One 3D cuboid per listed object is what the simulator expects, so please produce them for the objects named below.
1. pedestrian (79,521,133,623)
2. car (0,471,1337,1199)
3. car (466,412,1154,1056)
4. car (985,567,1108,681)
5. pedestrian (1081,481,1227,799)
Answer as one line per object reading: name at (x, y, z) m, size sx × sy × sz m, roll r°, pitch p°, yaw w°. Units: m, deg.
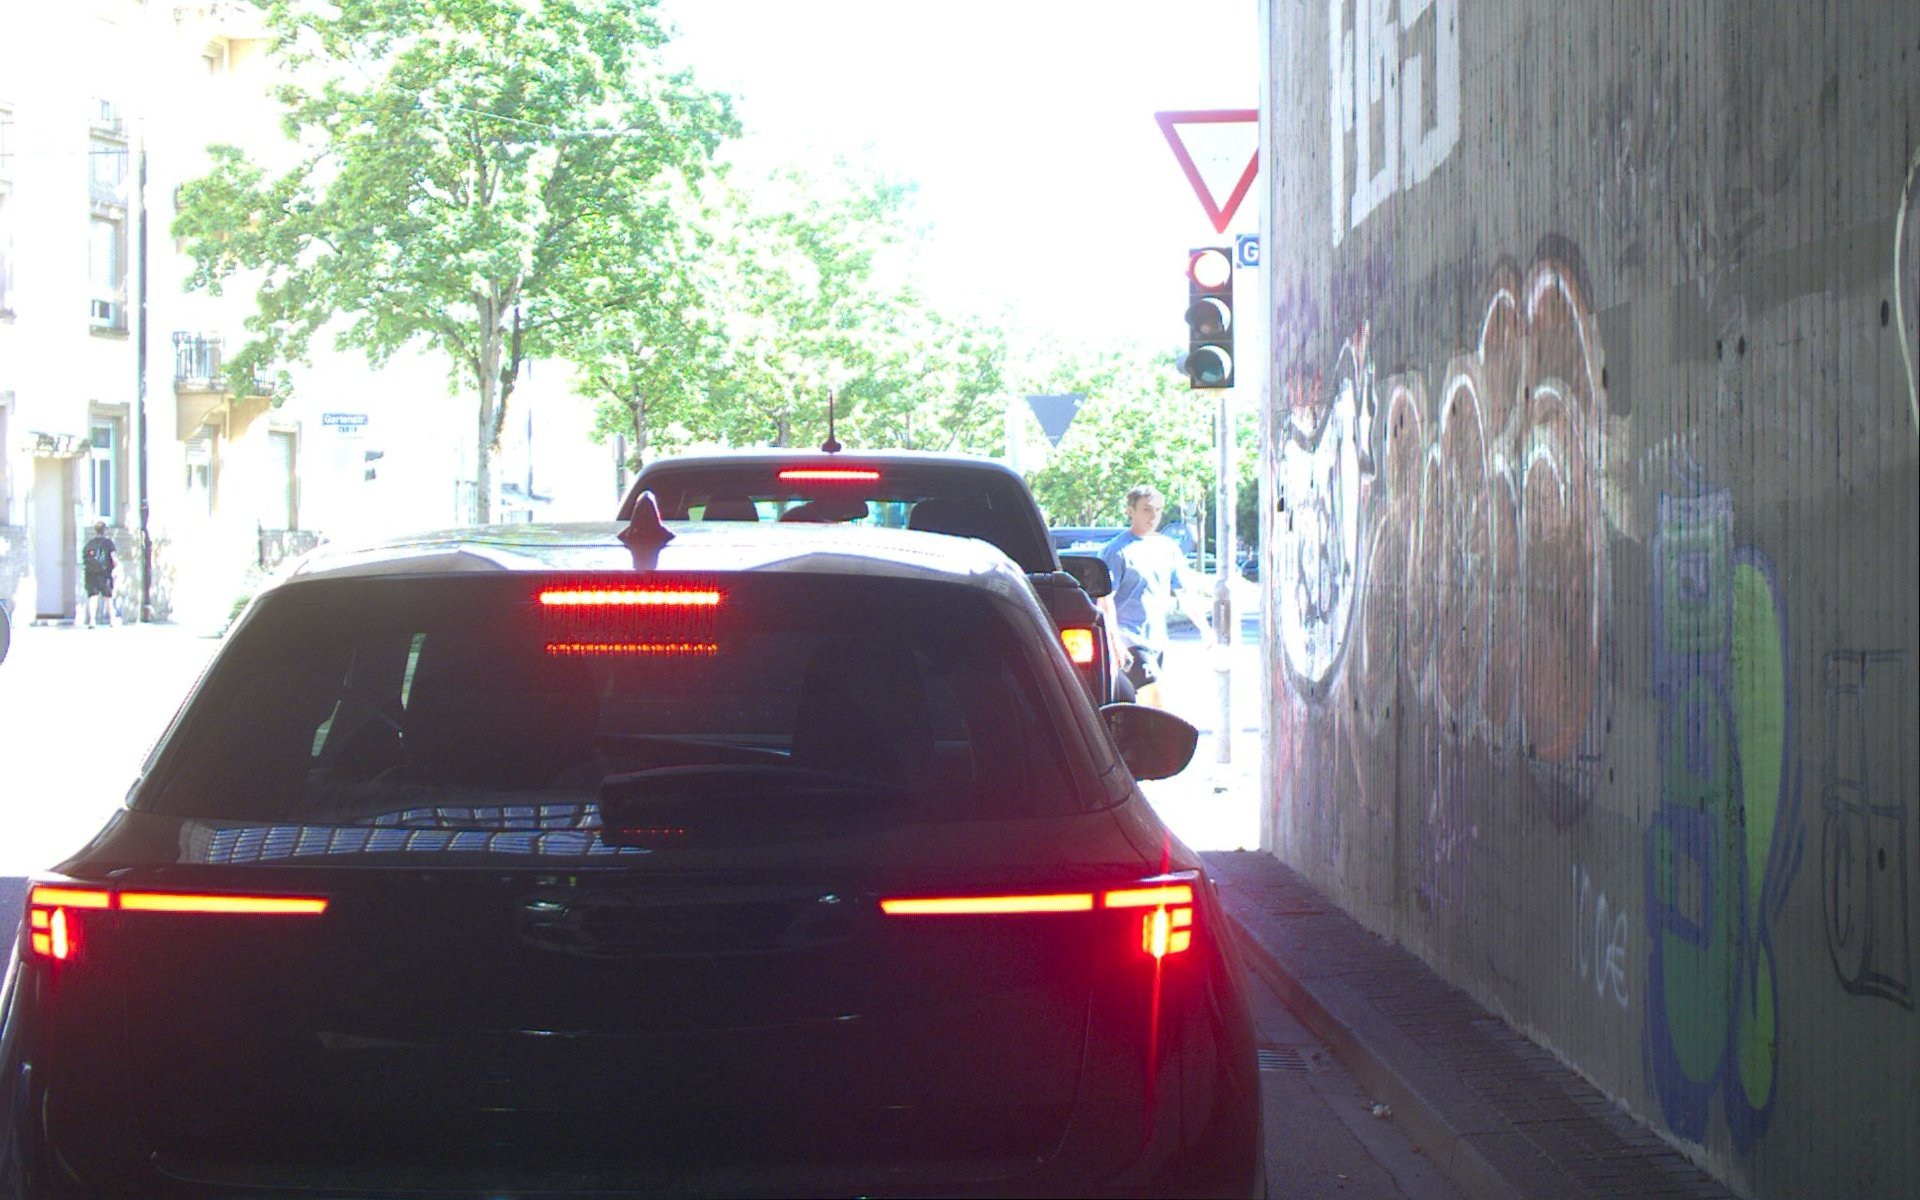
pedestrian at (-13.806, -0.457, 55.568) m, size 0.672 × 1.632 × 0.740 m, roll 1°, pitch 0°, yaw -1°
car at (-0.472, 0.568, 6.066) m, size 1.764 × 1.566 × 4.001 m, roll 1°, pitch 2°, yaw -1°
car at (-0.457, 0.352, 12.025) m, size 1.993 × 1.865 × 4.000 m, roll 0°, pitch 1°, yaw -1°
car at (1.608, 0.399, 62.425) m, size 1.994 × 1.963 × 4.163 m, roll 1°, pitch 1°, yaw 5°
pedestrian at (1.073, 0.215, 19.214) m, size 0.731 × 1.728 × 0.874 m, roll 1°, pitch 0°, yaw -1°
